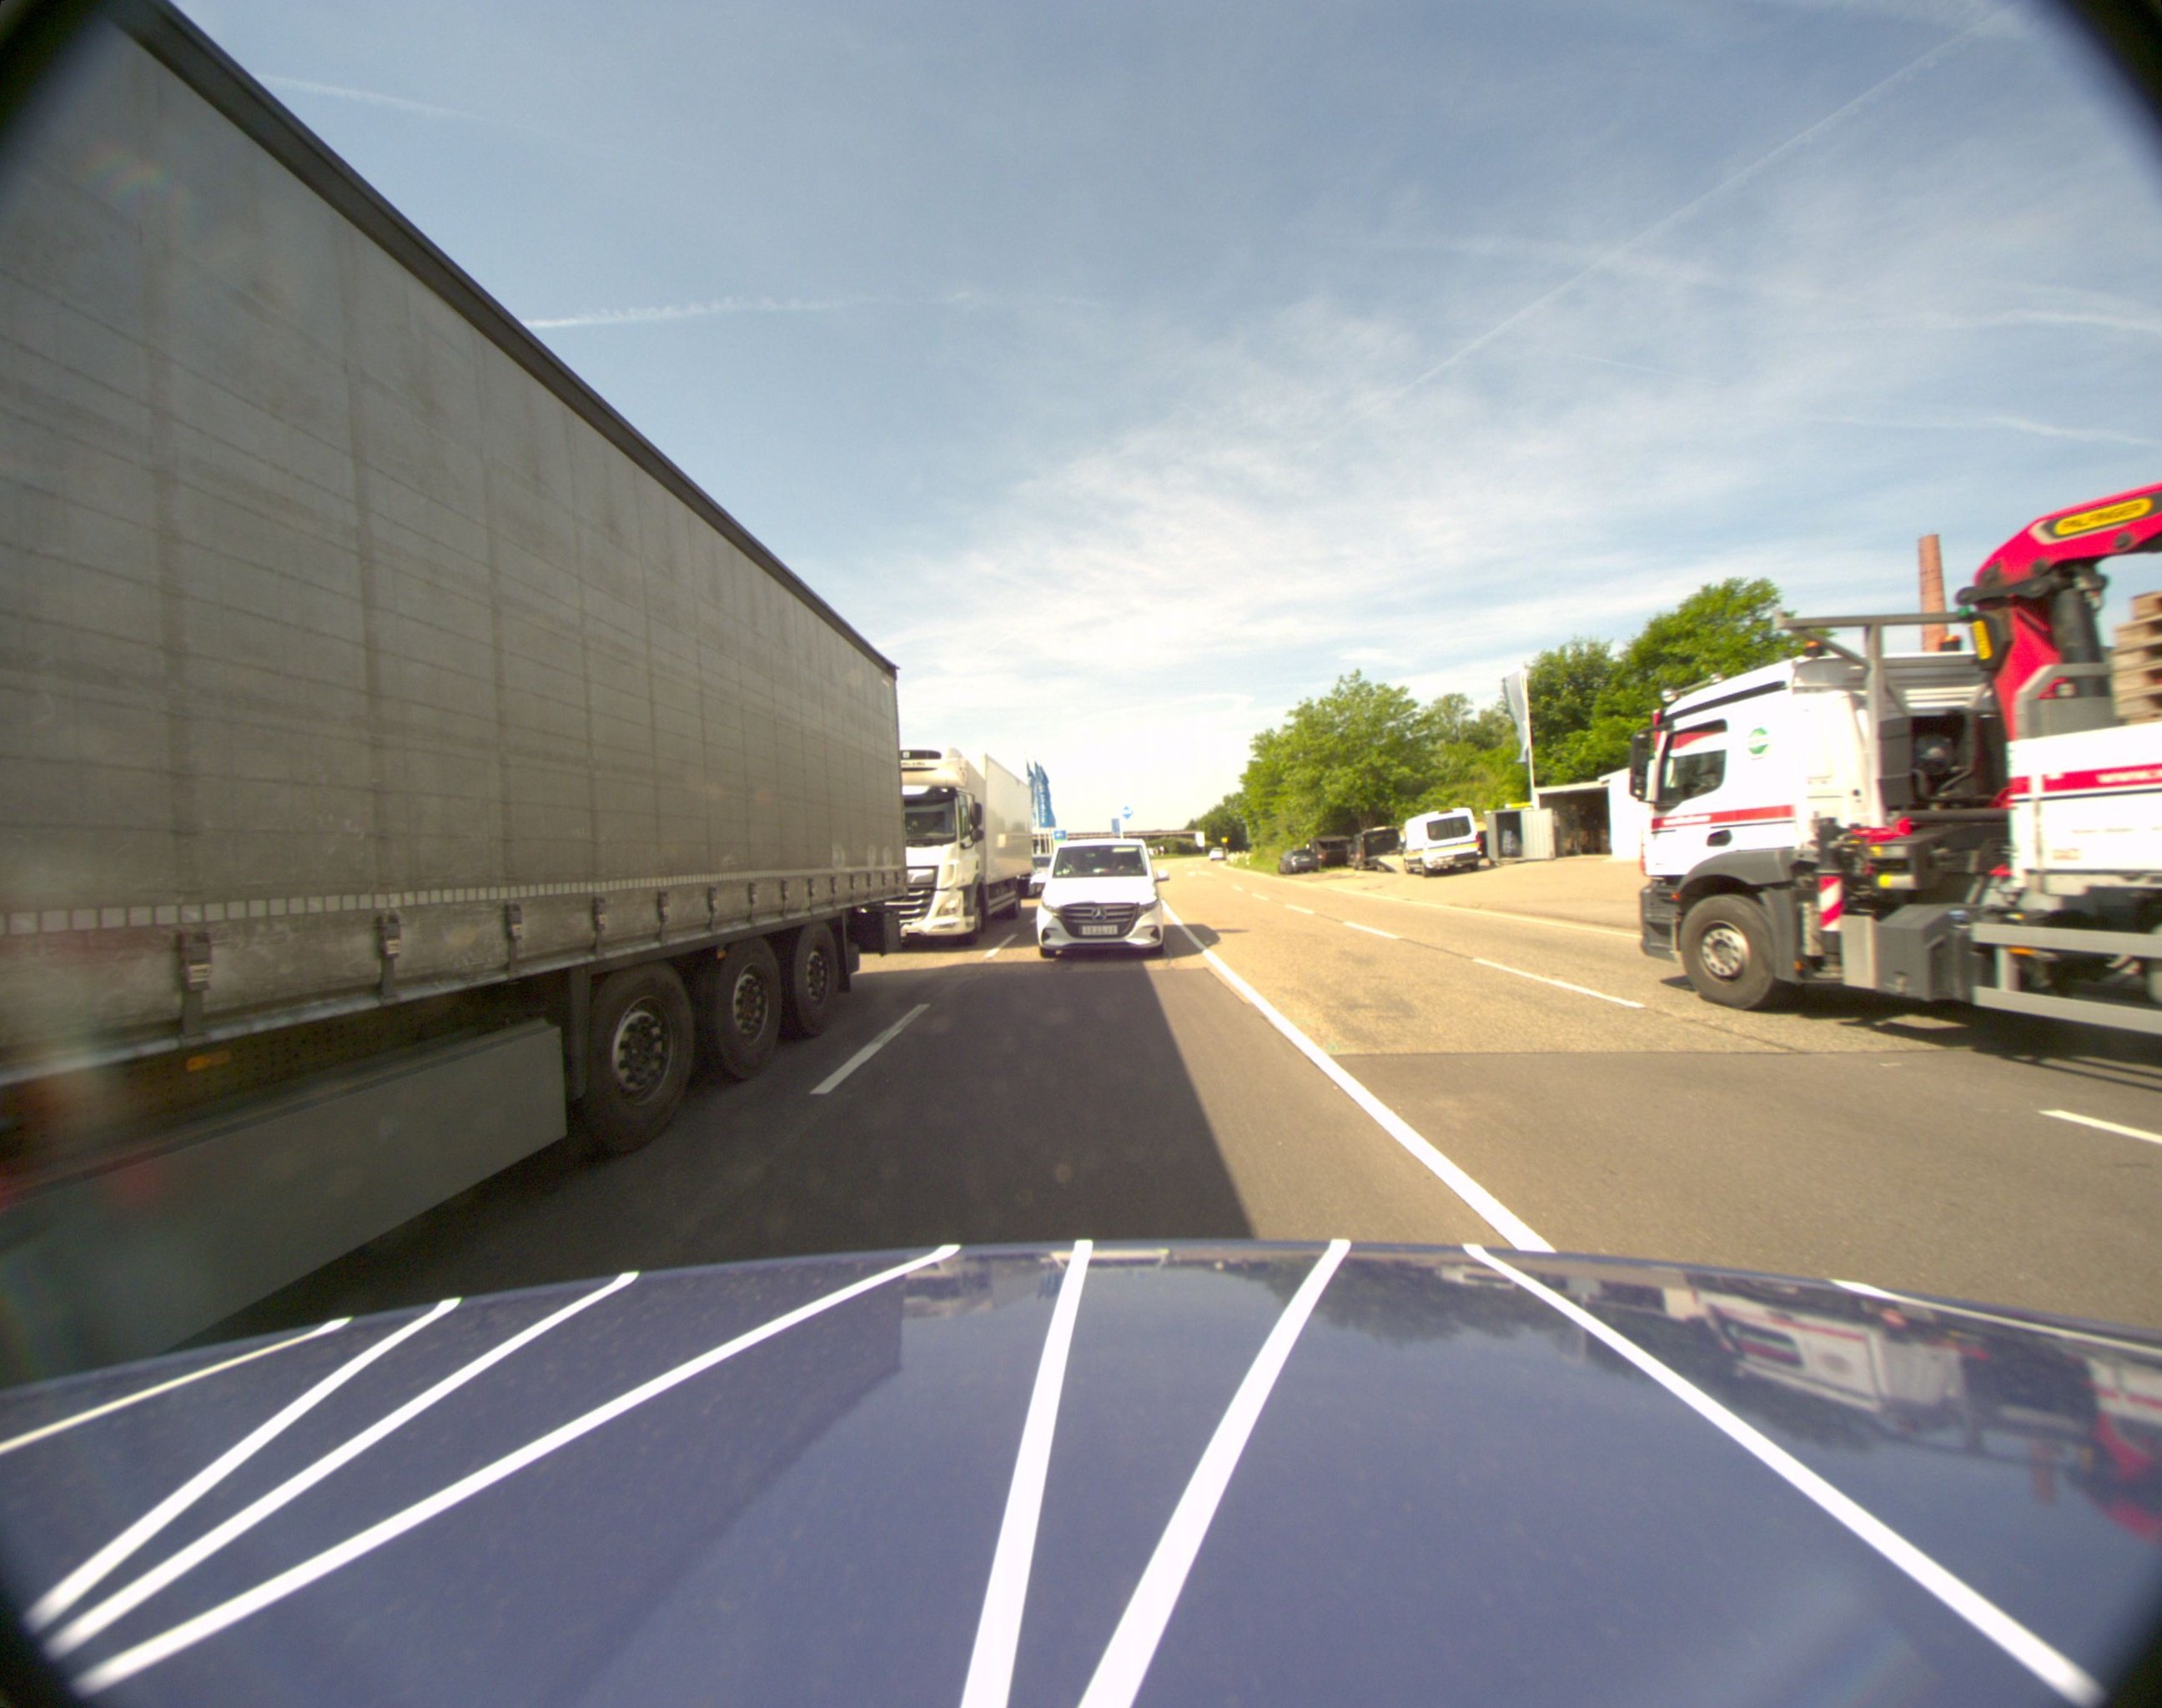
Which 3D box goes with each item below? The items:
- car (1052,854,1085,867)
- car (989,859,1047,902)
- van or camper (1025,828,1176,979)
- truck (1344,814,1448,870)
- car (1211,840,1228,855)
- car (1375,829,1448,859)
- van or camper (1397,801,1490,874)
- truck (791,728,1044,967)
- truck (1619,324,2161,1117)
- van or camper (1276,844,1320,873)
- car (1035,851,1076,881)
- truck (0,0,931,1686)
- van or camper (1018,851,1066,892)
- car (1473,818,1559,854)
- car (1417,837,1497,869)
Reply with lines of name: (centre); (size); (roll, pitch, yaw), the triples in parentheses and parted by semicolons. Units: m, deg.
car: (-1.791, 0.881, 108.424); (4.248, 1.628, 1.825); (-4, -1, 30)
car: (-2.427, 0.990, 30.250); (1.739, 1.420, 4.225); (-4, 0, 2)
van or camper: (0.359, 0.664, 12.924); (1.998, 2.002, 5.291); (-1, 0, 2)
truck: (16.043, -0.613, 39.424); (2.335, 2.283, 8.805); (-8, 0, 6)
car: (17.603, -0.818, 96.719); (1.939, 1.665, 4.002); (-4, 1, 10)
car: (19.549, -0.612, 44.981); (3.673, 1.502, 1.714); (-4, 1, -18)
van or camper: (14.876, -0.674, 31.612); (2.158, 2.484, 5.955); (-7, 0, 15)
truck: (-2.979, -0.135, 18.108); (2.886, 3.789, 11.143); (-3, 0, 3)
truck: (7.174, -0.725, 2.820); (2.963, 4.184, 10.647); (-2, 0, 1)
van or camper: (12.895, 0.201, 45.359); (1.643, 1.515, 4.468); (-4, 1, 5)
car: (-1.423, 0.659, 43.787); (1.804, 1.563, 3.714); (-2, 1, 6)
truck: (-3.787, -0.325, 1.555); (2.897, 4.241, 16.710); (-3, 0, 2)
van or camper: (-1.868, 0.797, 37.774); (1.751, 1.777, 5.133); (-4, 1, 3)
car: (21.350, -0.875, 37.296); (3.674, 1.521, 1.736); (-4, 1, -22)
car: (20.496, -0.061, 41.484); (3.673, 1.460, 1.737); (-4, 1, -17)
